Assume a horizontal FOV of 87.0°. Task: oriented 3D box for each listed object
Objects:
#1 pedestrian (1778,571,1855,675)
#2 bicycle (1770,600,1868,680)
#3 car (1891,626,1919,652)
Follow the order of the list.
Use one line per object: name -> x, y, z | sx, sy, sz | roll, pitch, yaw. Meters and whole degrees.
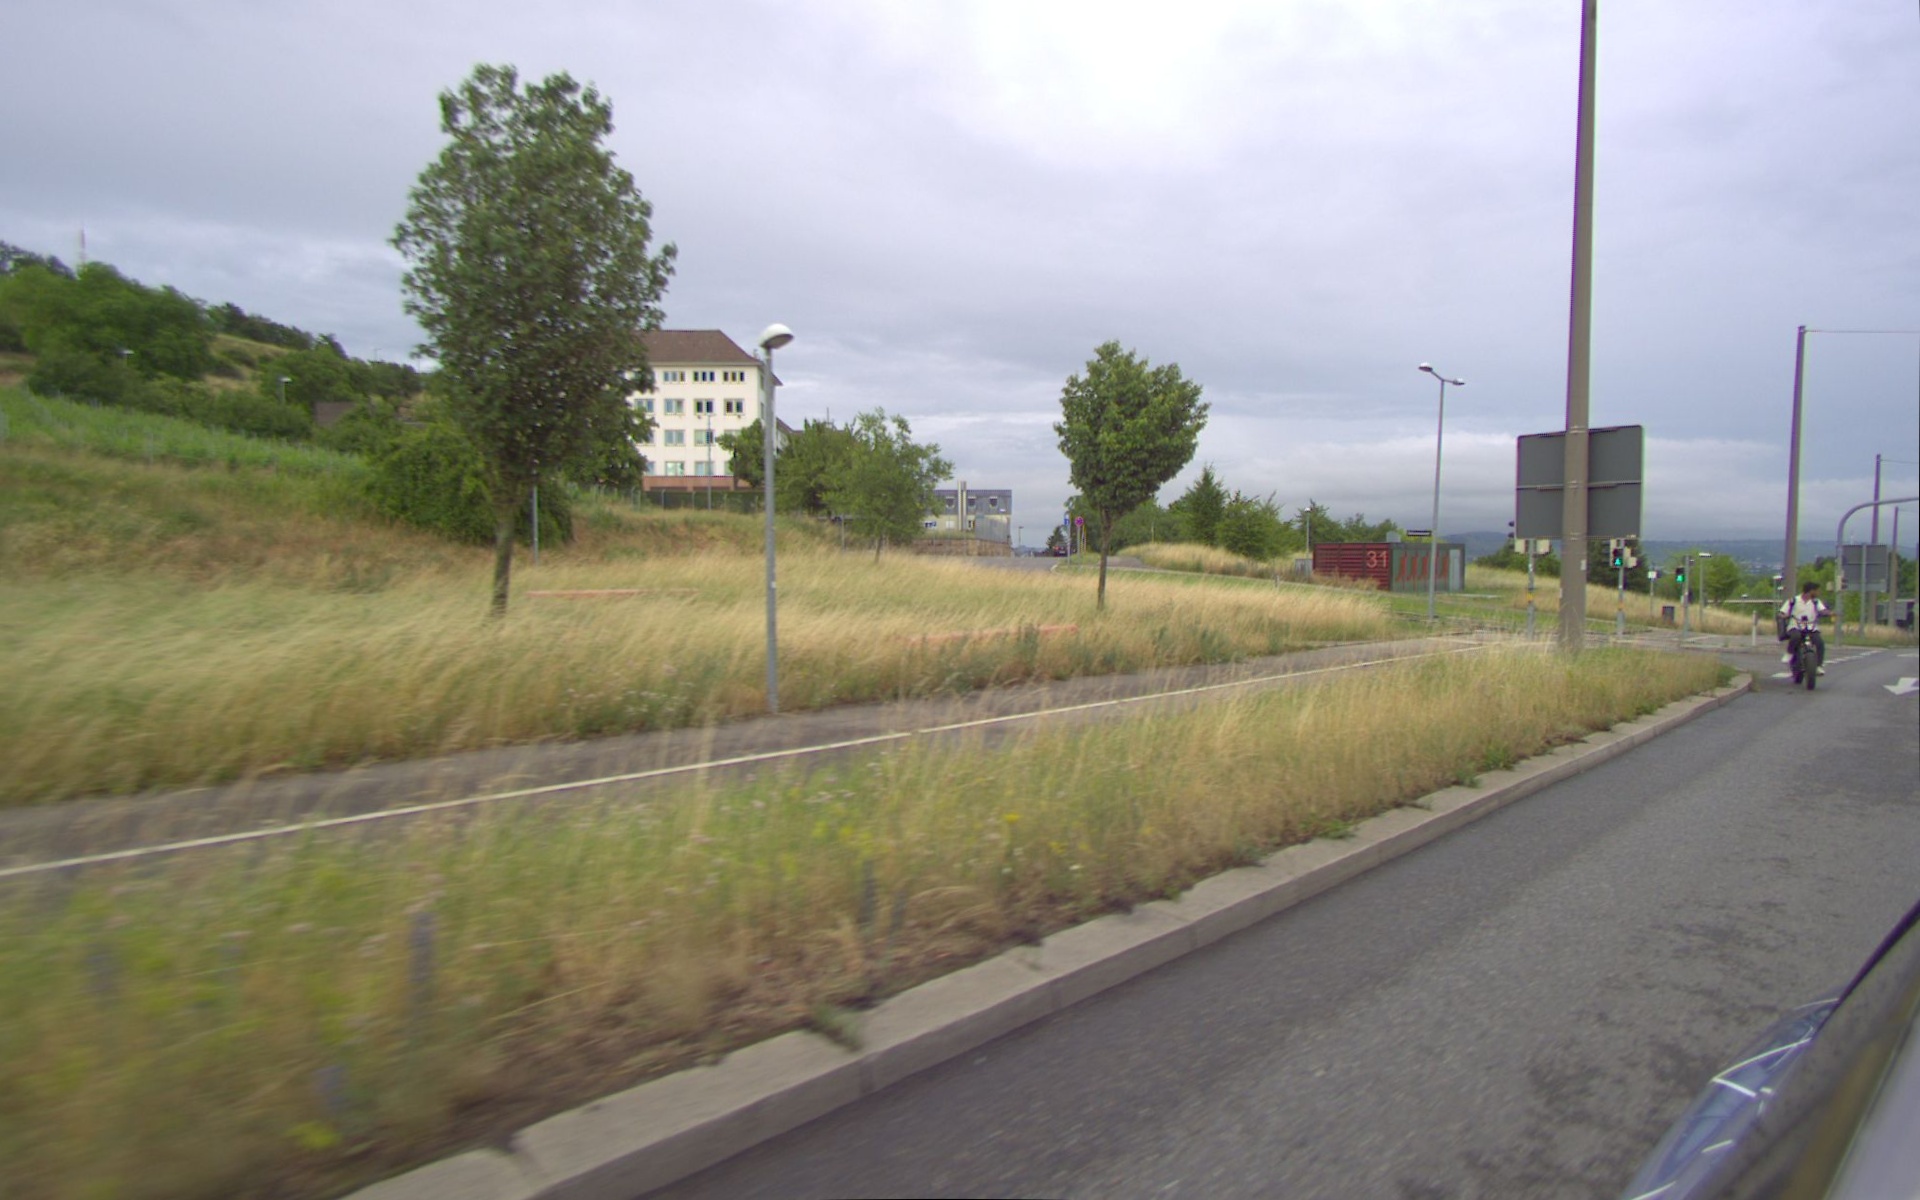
pedestrian -> 13.664, 0.345, 16.170 | 0.628, 1.590, 0.889 | 3, 2, 23
bicycle -> 13.632, 0.603, 16.115 | 0.627, 1.118, 1.740 | 3, 2, 23
car -> 64.879, 2.646, 69.012 | 3.757, 1.559, 1.839 | -3, 1, -45
